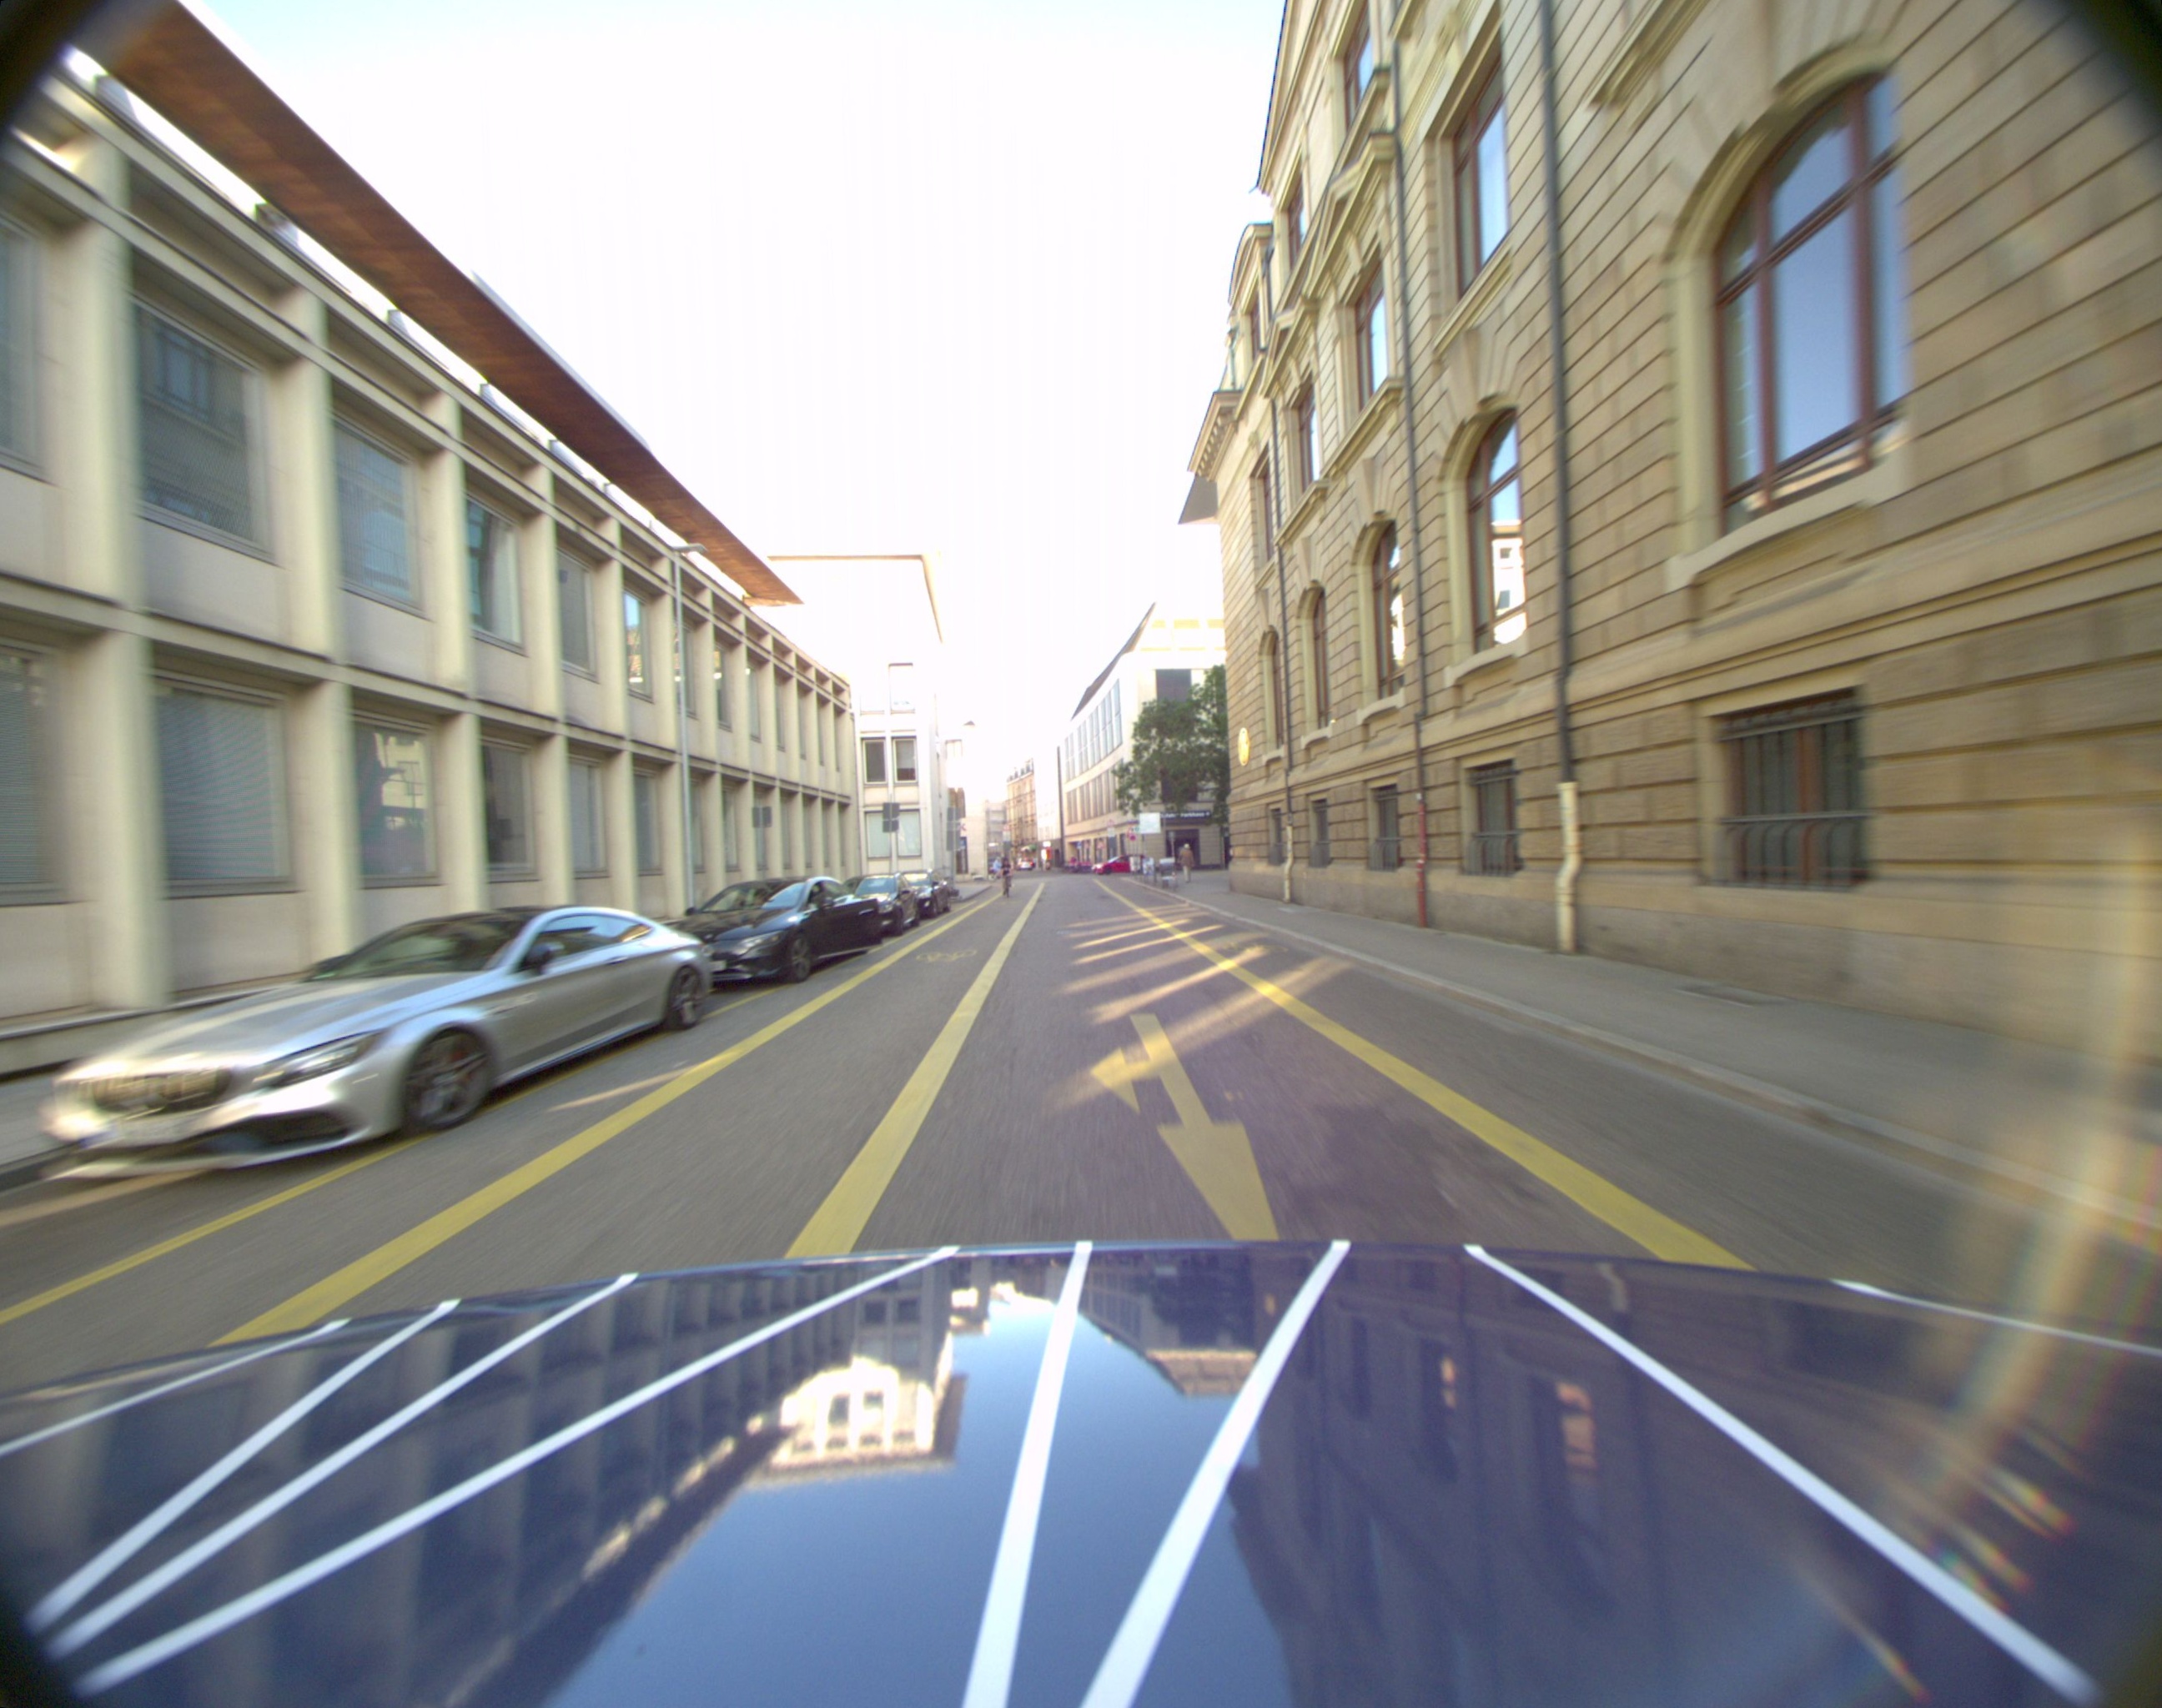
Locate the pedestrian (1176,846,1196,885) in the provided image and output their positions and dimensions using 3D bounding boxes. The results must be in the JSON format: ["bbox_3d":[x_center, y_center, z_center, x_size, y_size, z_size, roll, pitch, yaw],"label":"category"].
[{"bbox_3d":[4.831,0.532,34.956,0.765,1.769,0.622,-3,1,-1],"label":"pedestrian"}]

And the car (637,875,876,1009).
[{"bbox_3d":[-4.741,1.173,11.988,1.701,1.462,4.791,-3,0,-1],"label":"car"}]

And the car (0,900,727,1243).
[{"bbox_3d":[-4.837,1.224,6.032,1.701,1.336,4.598,-3,0,2],"label":"car"}]

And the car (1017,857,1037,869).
[{"bbox_3d":[-7.175,1.231,100.692,2.056,1.482,4.267,-3,0,-13],"label":"car"}]

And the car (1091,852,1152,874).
[{"bbox_3d":[3.021,0.688,57.383,4.273,1.462,1.631,-3,0,-14],"label":"car"}]

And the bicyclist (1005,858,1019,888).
[{"bbox_3d":[-3.028,0.836,33.343,0.538,1.281,0.551,-3,1,-4],"label":"bicyclist"}]

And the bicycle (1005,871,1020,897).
[{"bbox_3d":[-2.998,1.312,33.242,0.535,1.060,1.425,-3,0,-3],"label":"bicycle"}]

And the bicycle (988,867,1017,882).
[{"bbox_3d":[-5.517,1.442,53.365,1.871,0.904,0.535,-3,1,5],"label":"bicycle"}]

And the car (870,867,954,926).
[{"bbox_3d":[-5.086,1.232,23.379,1.698,1.483,4.253,-3,0,-2],"label":"car"}]

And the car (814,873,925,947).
[{"bbox_3d":[-4.872,1.231,18.016,1.632,1.391,3.885,-3,0,-3],"label":"car"}]

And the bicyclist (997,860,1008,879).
[{"bbox_3d":[-5.522,1.075,53.355,0.612,1.281,0.538,-3,1,5],"label":"bicyclist"}]
